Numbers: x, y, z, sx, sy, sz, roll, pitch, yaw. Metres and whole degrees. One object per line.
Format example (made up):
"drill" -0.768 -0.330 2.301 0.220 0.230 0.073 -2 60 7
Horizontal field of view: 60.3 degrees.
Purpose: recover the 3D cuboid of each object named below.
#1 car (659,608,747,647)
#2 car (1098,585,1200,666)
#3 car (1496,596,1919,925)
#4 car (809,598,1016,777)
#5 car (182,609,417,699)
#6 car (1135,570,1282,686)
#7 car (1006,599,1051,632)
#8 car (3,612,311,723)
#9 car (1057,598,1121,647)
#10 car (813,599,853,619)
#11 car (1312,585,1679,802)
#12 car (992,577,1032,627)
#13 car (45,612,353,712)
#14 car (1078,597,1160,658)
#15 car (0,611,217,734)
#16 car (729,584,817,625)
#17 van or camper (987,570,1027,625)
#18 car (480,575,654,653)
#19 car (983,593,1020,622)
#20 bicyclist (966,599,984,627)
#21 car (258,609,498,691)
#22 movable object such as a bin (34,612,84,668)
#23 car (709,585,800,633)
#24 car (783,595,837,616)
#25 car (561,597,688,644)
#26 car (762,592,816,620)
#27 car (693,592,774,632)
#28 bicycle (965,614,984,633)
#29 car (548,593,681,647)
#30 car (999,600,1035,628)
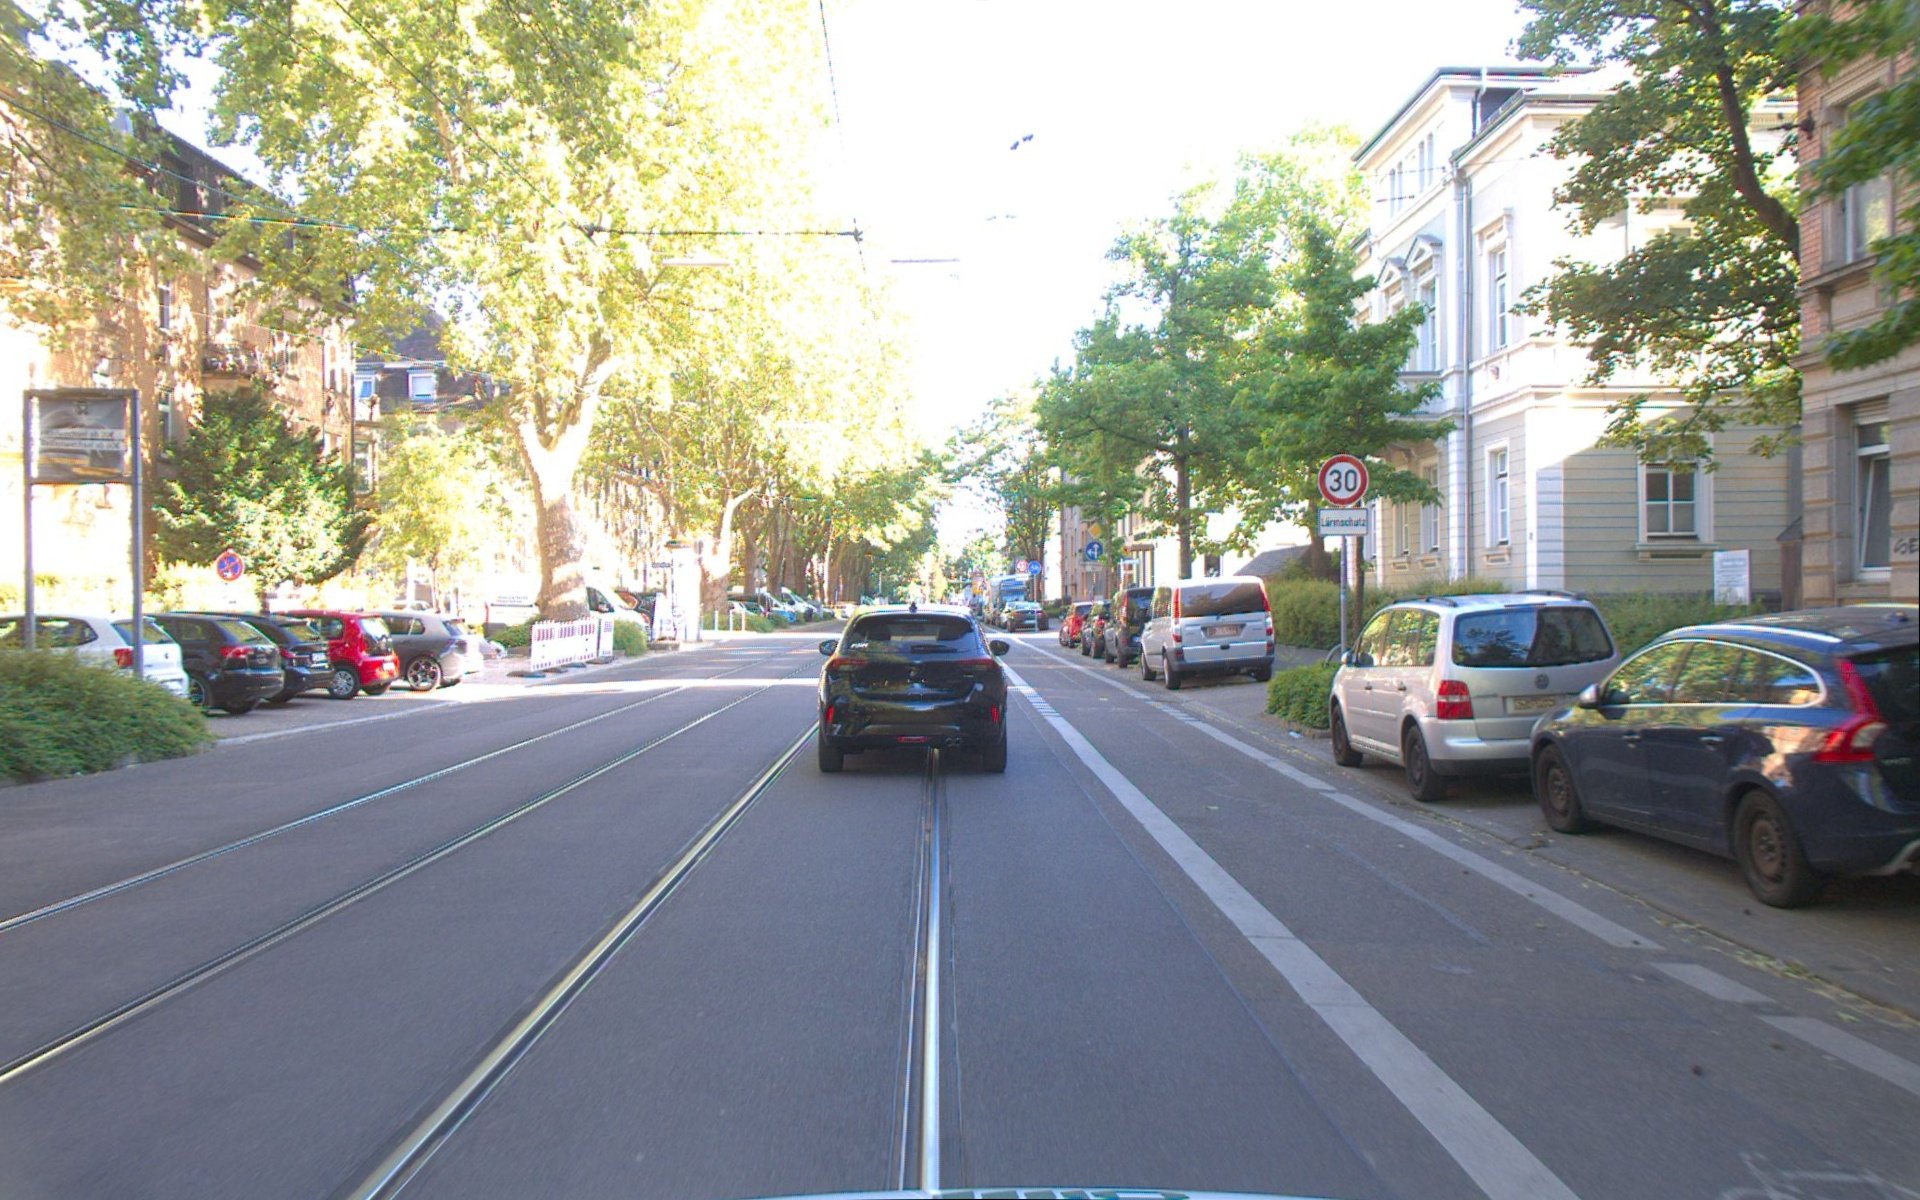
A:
"car" -12.854 1.358 82.911 4.220 1.621 1.779 -4 0 -8
"car" 4.476 0.592 39.883 1.847 1.797 4.677 -1 0 -1
"car" 5.089 0.768 10.228 1.846 1.492 4.591 -3 0 -2
"car" -0.412 0.738 15.825 1.727 1.486 3.950 0 0 -1
"car" -11.414 0.920 28.746 3.349 1.490 1.760 0 0 1
"car" 4.512 0.489 30.797 1.846 1.883 4.966 -3 0 -1
"car" 3.288 0.727 80.147 1.846 1.459 4.529 -3 0 -1
"car" -11.345 0.924 23.523 3.527 1.490 1.687 0 0 1
"car" 4.192 0.722 54.377 1.668 1.448 3.977 -4 0 -1
"car" -13.224 0.918 172.265 3.902 2.049 2.001 0 0 6
"car" 4.636 0.732 15.033 1.846 1.595 4.241 -3 0 -1
"car" 3.044 0.125 97.747 2.043 2.820 4.696 -2 0 -1
"car" -11.949 0.950 26.151 3.998 1.490 1.821 0 0 1
"car" 4.339 0.728 45.575 1.677 1.540 4.035 -3 0 -2
"car" -11.608 0.899 21.222 3.349 1.490 1.697 0 0 1
"car" -12.378 0.318 109.607 5.521 2.638 2.197 0 0 3
"van or camper" 2.934 -0.136 104.311 2.208 3.272 5.530 -2 0 -1
"car" -12.061 0.428 51.040 4.934 2.299 2.084 0 0 -4
"car" 2.755 0.513 111.503 2.208 1.873 5.530 -2 0 -1
"bicyclist" 0.799 0.701 91.374 0.939 1.525 1.093 0 0 -2
"car" -11.052 0.937 31.600 3.906 1.490 1.854 0 0 -1
"movable object such as a bin" -18.456 0.816 33.894 0.709 1.129 0.543 0 0 1
"car" -11.984 0.525 96.897 4.934 2.415 2.081 -4 0 -1
"car" -12.367 0.457 135.948 4.275 1.694 1.995 0 0 -10
"car" -12.055 0.730 59.605 4.214 1.635 1.925 0 0 -3
"car" -12.738 0.479 123.023 3.914 2.049 1.995 0 0 -10
"car" -12.341 0.637 90.194 4.220 1.872 1.779 -4 0 -8
"bicycle" 0.798 1.289 91.387 0.948 1.016 2.582 0 0 -2
"car" -11.852 0.682 56.975 4.214 1.833 1.925 0 0 -3
"car" 3.091 0.777 90.540 1.767 1.459 3.999 -2 -1 -1
